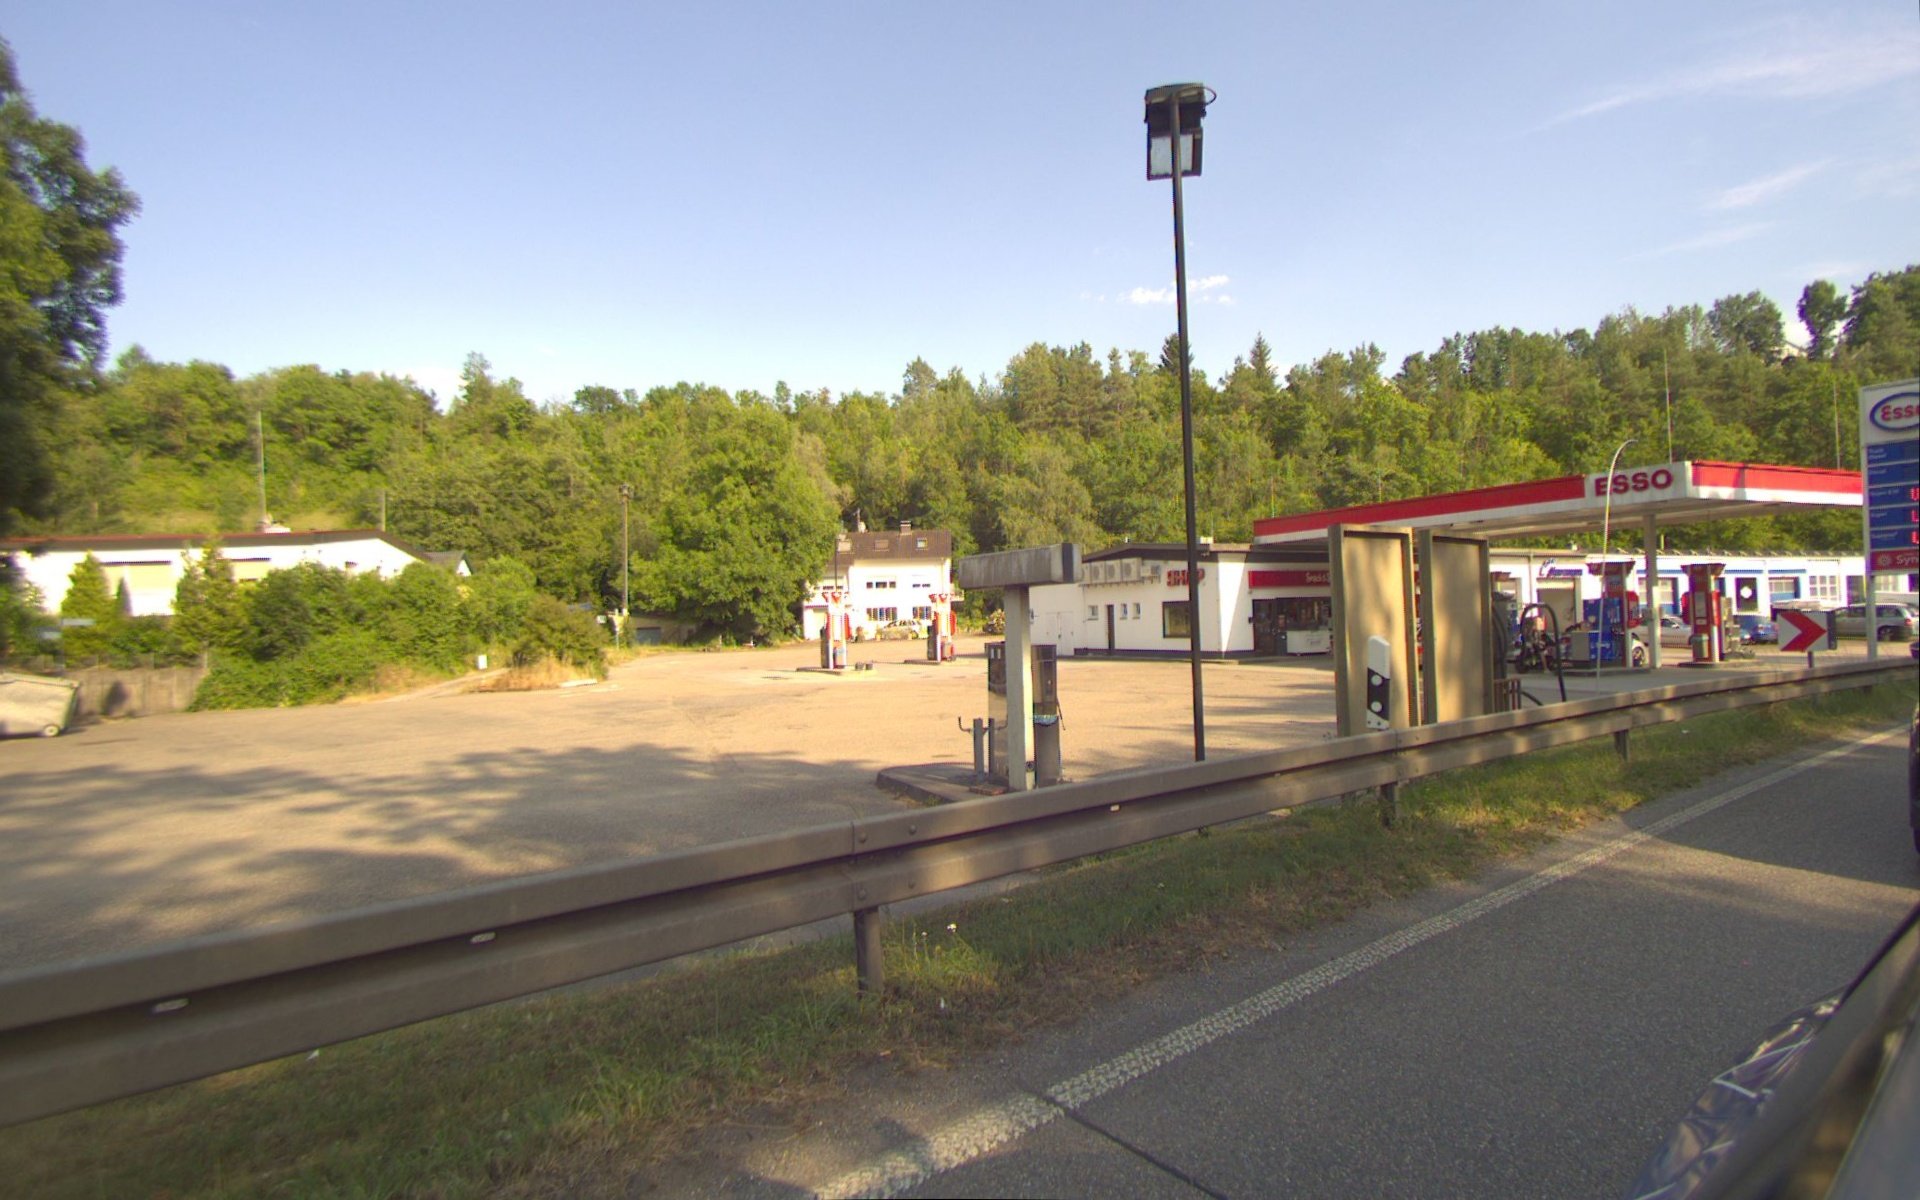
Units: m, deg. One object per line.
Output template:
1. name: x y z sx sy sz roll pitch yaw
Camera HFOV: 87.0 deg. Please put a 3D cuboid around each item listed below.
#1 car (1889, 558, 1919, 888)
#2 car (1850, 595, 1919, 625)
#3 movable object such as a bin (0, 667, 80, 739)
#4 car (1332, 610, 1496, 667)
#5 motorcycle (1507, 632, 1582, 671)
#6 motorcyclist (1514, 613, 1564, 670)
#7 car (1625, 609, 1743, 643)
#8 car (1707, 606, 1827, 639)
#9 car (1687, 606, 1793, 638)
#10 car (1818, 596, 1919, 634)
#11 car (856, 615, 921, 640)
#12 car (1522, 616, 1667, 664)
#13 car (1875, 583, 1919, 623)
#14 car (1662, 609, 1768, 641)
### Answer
1. car: 7.056 0.609 5.762 4.359 1.661 1.860 0 0 -37
2. car: 52.748 0.545 56.455 1.856 1.631 4.261 -1 1 -26
3. movable object such as a bin: -20.428 2.210 21.565 2.512 1.439 1.267 0 -4 -41
4. car: 14.572 1.188 32.464 5.075 1.649 2.102 -1 -1 -28
5. motorcycle: 17.123 1.498 29.643 2.293 1.025 0.765 -1 -1 -27
6. motorcyclist: 16.905 1.190 29.549 0.909 1.625 0.862 0 -1 -27
7. car: 32.651 1.148 45.727 1.741 1.371 3.973 -1 1 -30
8. car: 38.749 1.055 48.694 1.856 1.365 4.087 -1 2 -26
9. car: 36.834 1.025 47.864 1.698 1.464 3.560 -1 -1 -26
10. car: 46.219 0.708 50.946 1.854 1.750 4.267 -1 2 -29
11. car: -5.724 2.208 81.459 5.068 1.860 2.701 -1 -1 0
12. car: 19.905 1.217 31.749 4.299 1.336 1.851 -1 -1 -26
13. car: 56.923 0.165 58.546 2.248 2.302 5.500 -1 1 -26
14. car: 34.889 1.127 46.874 1.656 1.424 3.566 -1 0 -26
